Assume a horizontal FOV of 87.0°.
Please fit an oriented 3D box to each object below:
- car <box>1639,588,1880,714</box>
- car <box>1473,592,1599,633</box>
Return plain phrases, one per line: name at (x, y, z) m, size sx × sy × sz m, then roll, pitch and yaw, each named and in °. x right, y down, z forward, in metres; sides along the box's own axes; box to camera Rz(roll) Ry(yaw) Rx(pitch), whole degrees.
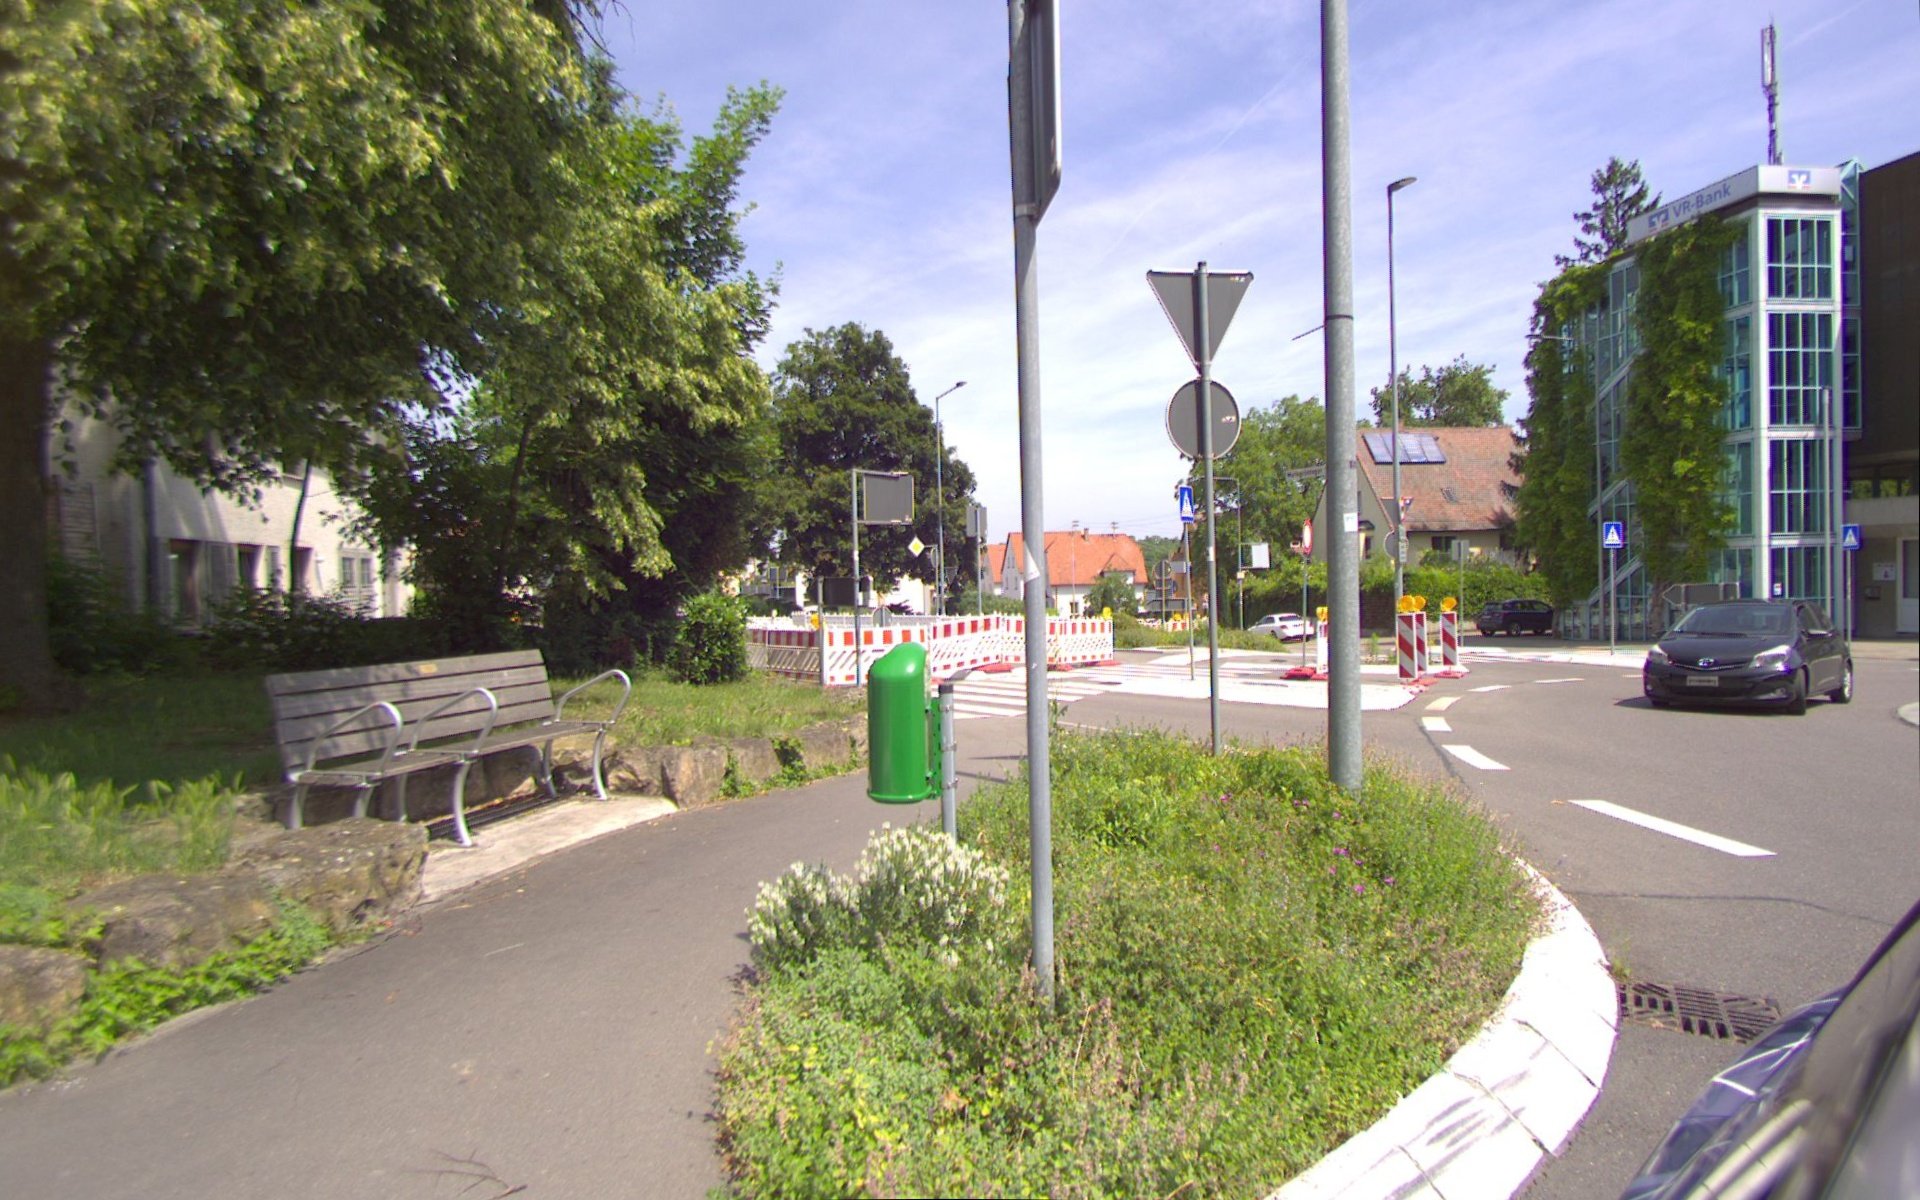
car at (11.145, 0.593, 14.006) m, size 4.350 × 1.475 × 1.724 m, roll -1°, pitch 0°, yaw -39°
car at (23.977, 0.530, 42.188) m, size 4.143 × 1.455 × 1.865 m, roll -3°, pitch 0°, yaw -5°
